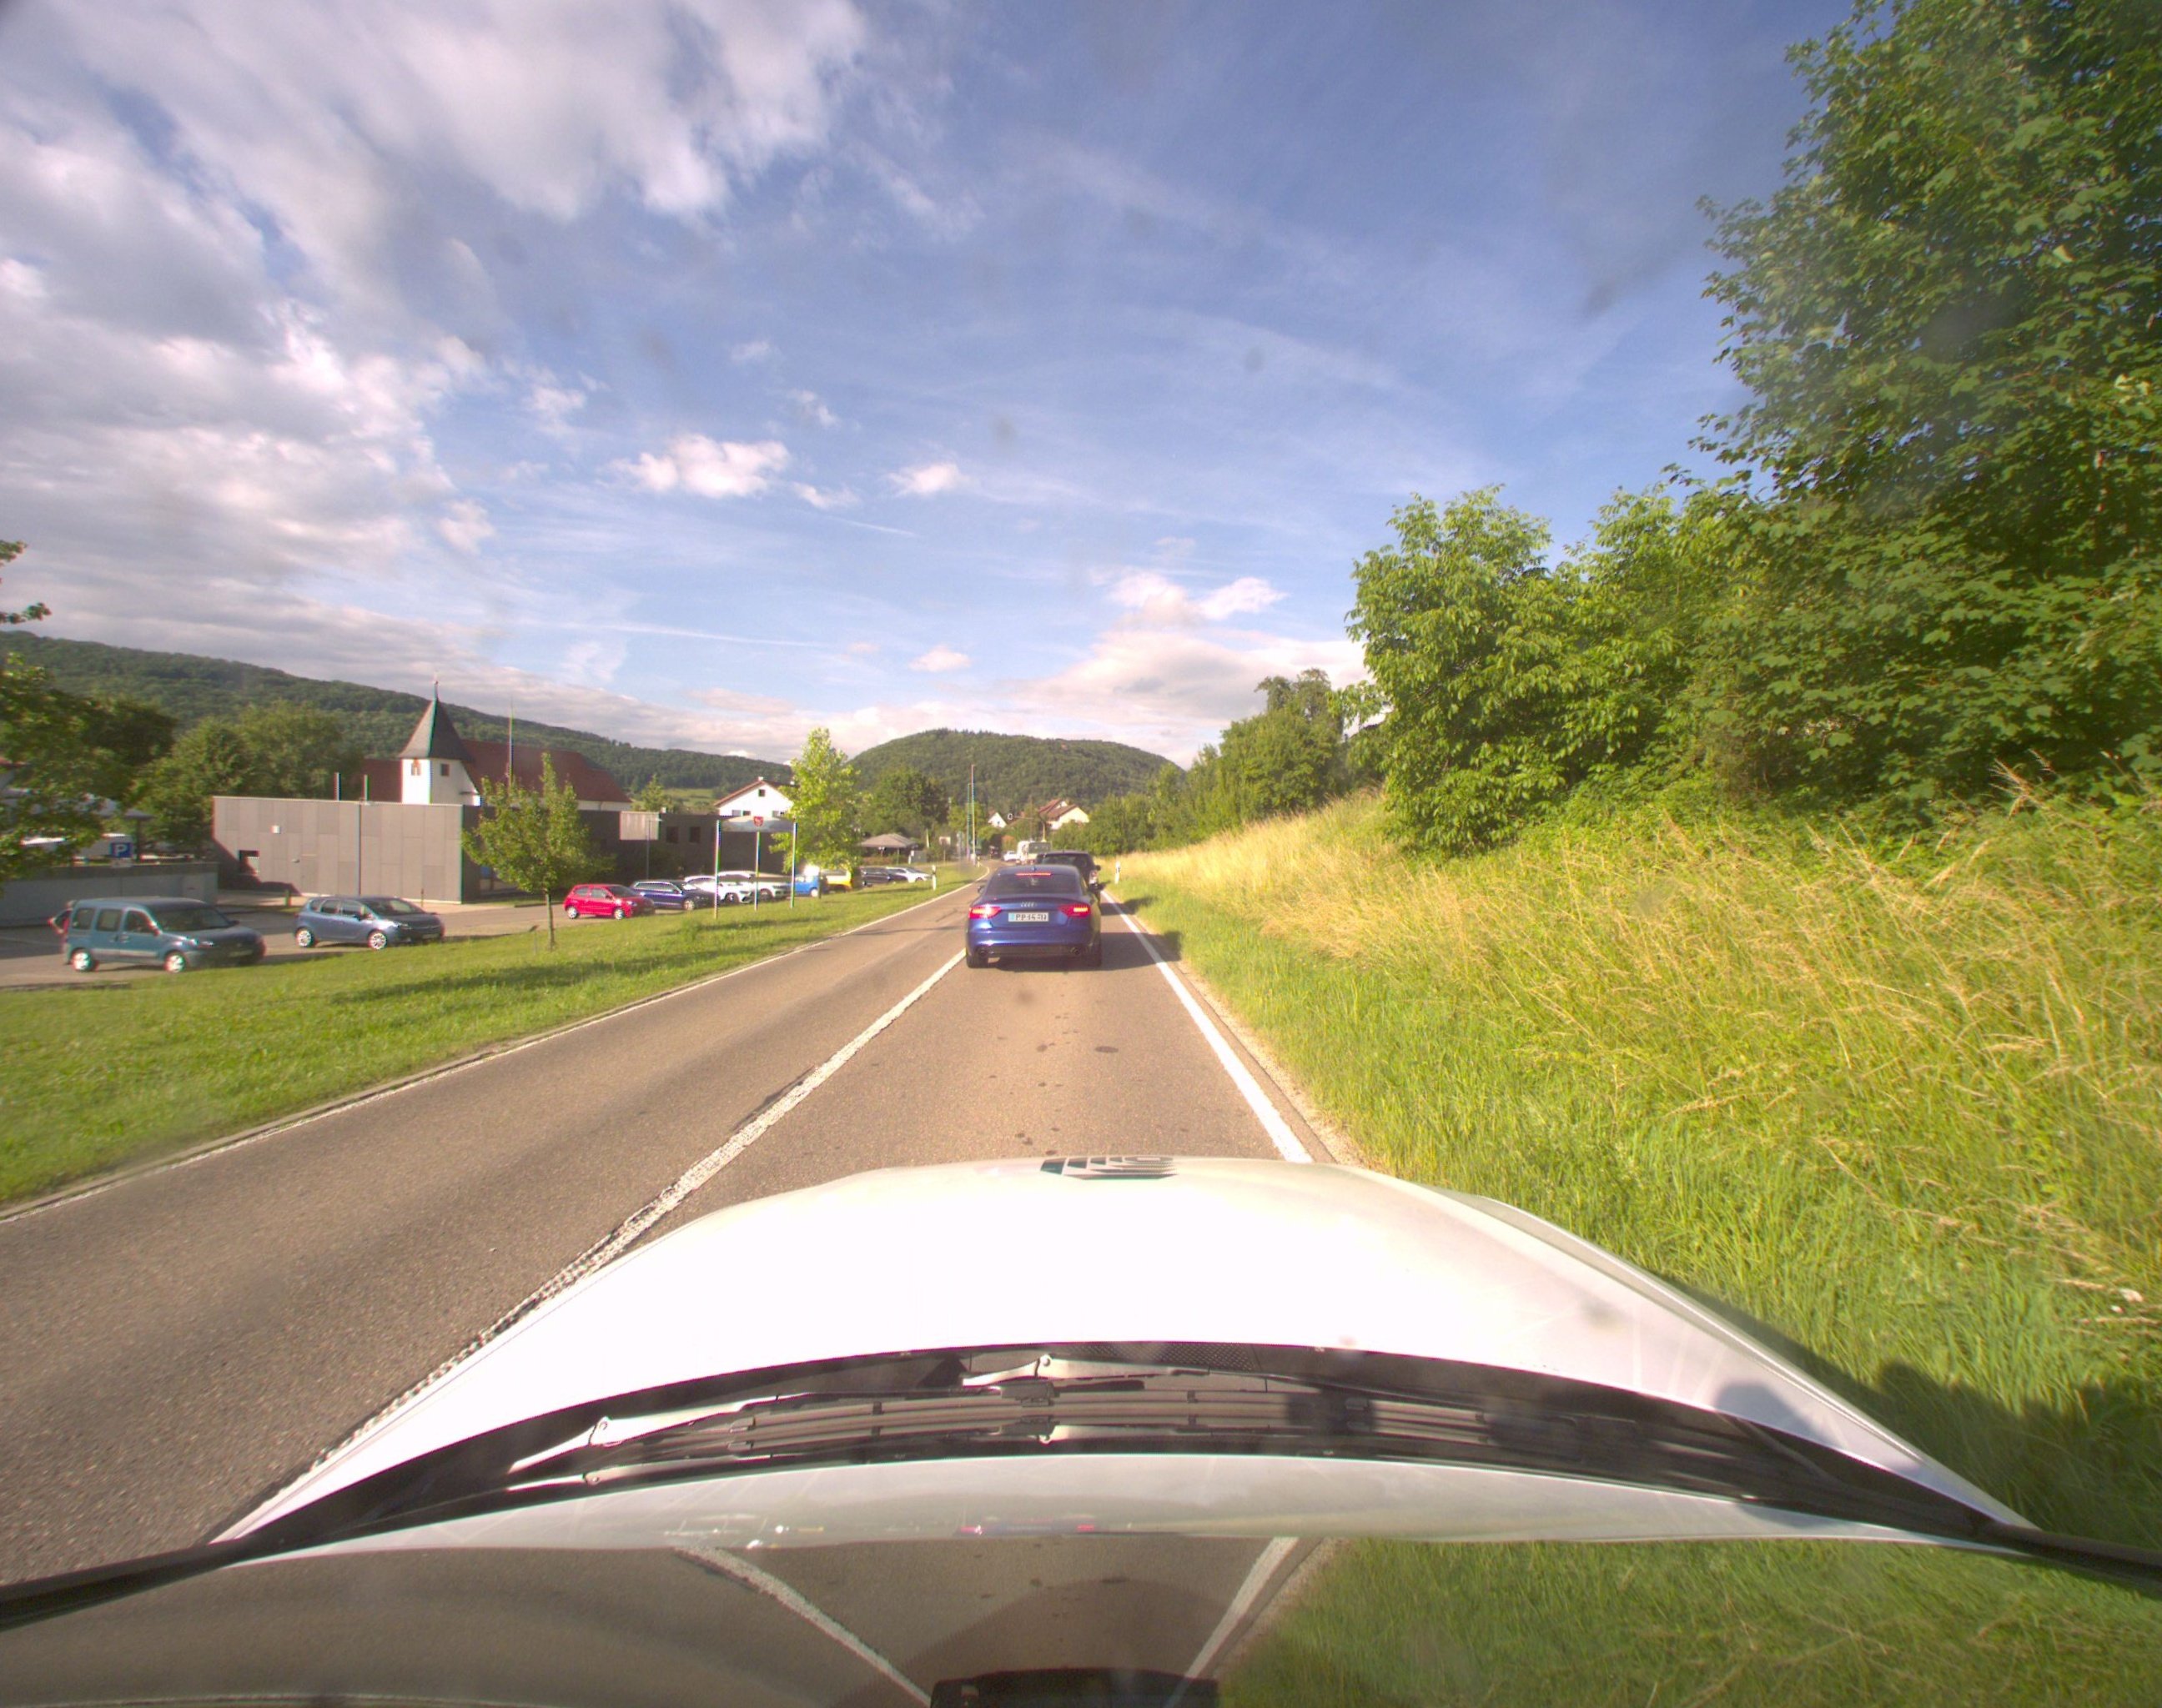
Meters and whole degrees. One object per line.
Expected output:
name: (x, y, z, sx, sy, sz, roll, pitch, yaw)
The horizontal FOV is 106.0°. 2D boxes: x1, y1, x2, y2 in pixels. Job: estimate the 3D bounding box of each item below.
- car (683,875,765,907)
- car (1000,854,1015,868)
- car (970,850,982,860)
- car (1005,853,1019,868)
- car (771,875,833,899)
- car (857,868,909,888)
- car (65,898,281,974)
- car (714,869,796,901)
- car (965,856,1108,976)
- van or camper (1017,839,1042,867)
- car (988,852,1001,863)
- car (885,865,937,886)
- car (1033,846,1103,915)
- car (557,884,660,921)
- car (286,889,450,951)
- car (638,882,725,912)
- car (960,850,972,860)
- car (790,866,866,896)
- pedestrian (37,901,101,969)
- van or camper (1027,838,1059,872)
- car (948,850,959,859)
car: (-19.024, 1.942, 43.402, 3.643, 1.493, 1.602, -2, 2, 10)
car: (-10.474, 0.944, 115.726, 1.661, 1.924, 3.984, -2, 0, -12)
car: (-20.264, 0.178, 157.511, 1.681, 1.924, 3.978, -2, 0, -16)
car: (-9.086, 0.864, 107.783, 1.658, 1.924, 3.990, -2, 0, -7)
car: (-17.996, 2.122, 52.686, 3.355, 1.373, 1.661, -2, -1, 2)
car: (-15.912, 1.927, 65.377, 3.689, 1.439, 1.514, -2, -1, 10)
car: (-22.979, 2.034, 20.690, 3.840, 1.722, 1.759, -1, 0, 7)
car: (-18.714, 1.764, 46.787, 4.051, 1.673, 1.601, -2, -1, 10)
car: (-0.578, 0.779, 11.860, 1.737, 1.450, 3.515, -1, 0, -1)
van or camper: (-5.333, -0.076, 83.380, 2.278, 2.714, 5.754, -2, 0, -6)
car: (-14.787, 0.606, 139.099, 1.679, 1.924, 3.982, -2, 0, -13)
car: (-14.535, 1.812, 69.674, 4.010, 1.660, 1.660, -2, -1, 10)
car: (-0.360, 0.634, 20.904, 1.641, 1.625, 3.514, 0, 0, -2)
car: (-20.425, 2.075, 35.275, 3.602, 1.444, 1.653, 0, 1, 10)
car: (-22.013, 2.022, 25.202, 3.795, 1.722, 1.736, -1, -1, 9)
car: (-19.720, 2.121, 40.264, 3.602, 1.405, 1.601, -2, -3, 10)
car: (-24.108, 0.244, 170.482, 1.682, 1.924, 3.974, -2, 0, -19)
car: (-17.102, 1.817, 55.147, 4.524, 1.815, 1.846, -2, -1, 10)
pedestrian: (-26.315, 2.099, 21.182, 0.790, 1.693, 0.706, 0, -1, 6)
van or camper: (-3.050, 0.084, 64.186, 2.050, 2.505, 5.797, -2, 0, -7)
car: (-28.990, 0.116, 184.948, 1.961, 1.925, 3.974, 0, -1, -19)
